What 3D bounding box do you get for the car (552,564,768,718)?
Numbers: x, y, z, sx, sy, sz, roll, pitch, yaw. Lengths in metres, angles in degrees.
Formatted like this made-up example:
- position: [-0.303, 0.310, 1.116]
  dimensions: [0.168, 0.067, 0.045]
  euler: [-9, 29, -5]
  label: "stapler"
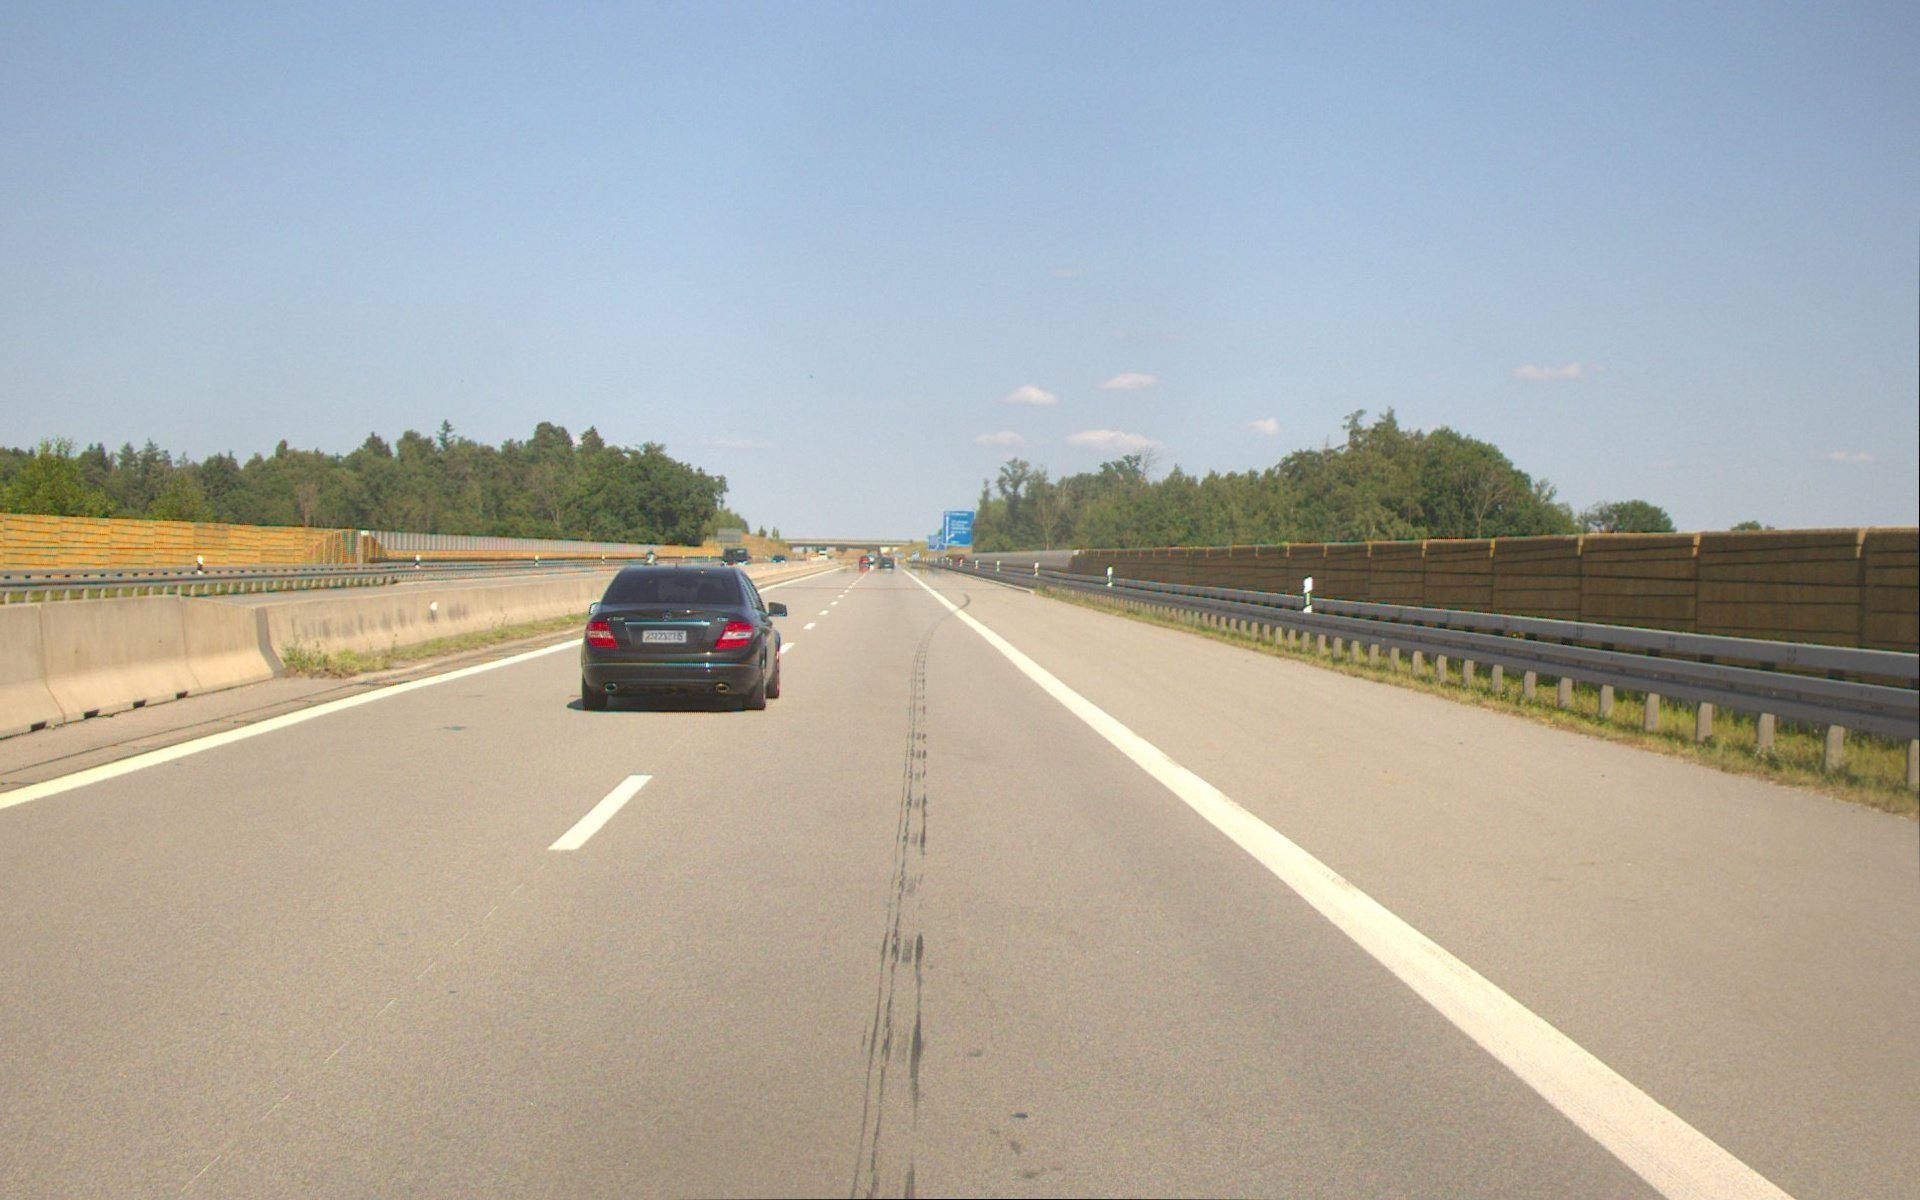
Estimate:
- position: [-2.859, 0.354, 33.467]
  dimensions: [1.790, 1.369, 3.917]
  euler: [1, 1, -1]
  label: "car"
